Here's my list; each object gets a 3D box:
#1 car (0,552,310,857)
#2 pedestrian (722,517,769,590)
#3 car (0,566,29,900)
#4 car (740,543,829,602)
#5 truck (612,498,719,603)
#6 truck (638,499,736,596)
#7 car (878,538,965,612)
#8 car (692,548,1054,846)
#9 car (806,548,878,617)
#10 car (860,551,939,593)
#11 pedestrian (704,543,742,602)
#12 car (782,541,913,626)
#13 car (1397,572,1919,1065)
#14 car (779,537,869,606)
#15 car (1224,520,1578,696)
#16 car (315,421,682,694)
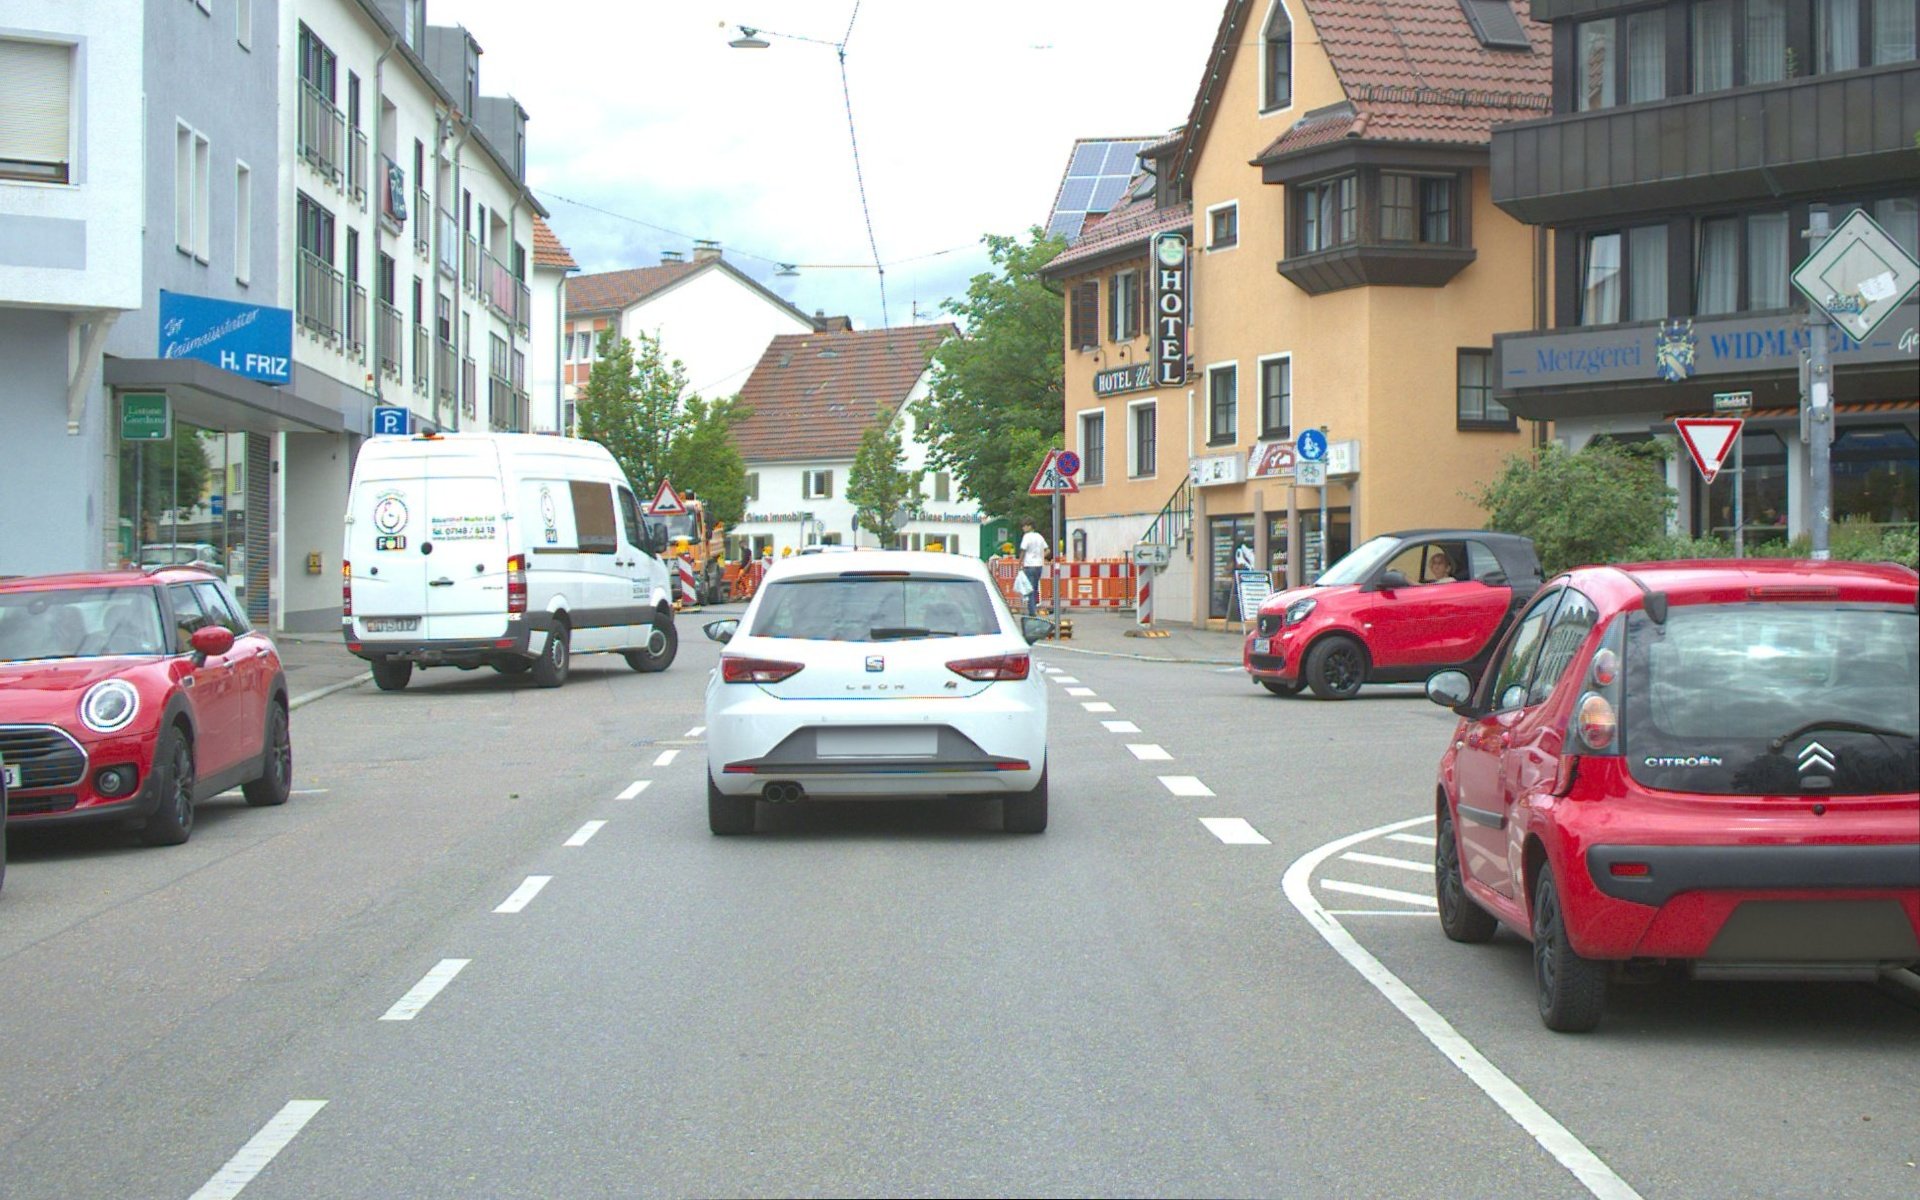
[{"bbox_3d":[-4.899,0.517,19.143,1.799,1.474,4.051,-3,1,-1],"label":"car"},{"bbox_3d":[-5.945,-1.289,95.274,1.228,2.007,1.176,0,1,0],"label":"pedestrian"},{"bbox_3d":[-5.136,0.655,13.618,1.799,1.474,4.051,-3,1,-1],"label":"car"},{"bbox_3d":[-5.132,-0.819,101.055,1.795,1.696,3.998,1,1,10],"label":"car"},{"bbox_3d":[-7.222,-1.241,84.761,2.152,2.451,5.395,1,1,0],"label":"truck"},{"bbox_3d":[-7.158,-1.406,90.672,2.152,2.451,5.395,1,1,0],"label":"truck"},{"bbox_3d":[-0.809,-0.545,71.925,1.761,1.492,3.789,0,1,-1],"label":"car"},{"bbox_3d":[-0.443,0.446,18.732,1.758,1.447,4.000,0,1,-1],"label":"car"},{"bbox_3d":[-3.176,-0.493,93.104,1.794,1.824,4.000,0,1,0],"label":"car"},{"bbox_3d":[-2.091,-0.992,120.244,1.759,1.447,3.997,0,1,15],"label":"car"},{"bbox_3d":[-6.476,-0.749,94.015,0.972,1.570,0.907,2,0,-1],"label":"pedestrian"},{"bbox_3d":[-2.009,-0.306,60.290,1.758,1.447,4.001,0,1,-10],"label":"car"},{"bbox_3d":[2.634,0.633,12.225,1.758,1.447,4.000,0,1,2],"label":"car"},{"bbox_3d":[-2.936,-0.628,74.801,1.758,1.447,4.000,0,1,1],"label":"car"},{"bbox_3d":[4.053,0.061,31.829,2.807,1.507,1.709,1,2,-12],"label":"car"},{"bbox_3d":[-4.824,-0.479,36.930,2.153,2.677,5.542,1,1,12],"label":"car"}]
